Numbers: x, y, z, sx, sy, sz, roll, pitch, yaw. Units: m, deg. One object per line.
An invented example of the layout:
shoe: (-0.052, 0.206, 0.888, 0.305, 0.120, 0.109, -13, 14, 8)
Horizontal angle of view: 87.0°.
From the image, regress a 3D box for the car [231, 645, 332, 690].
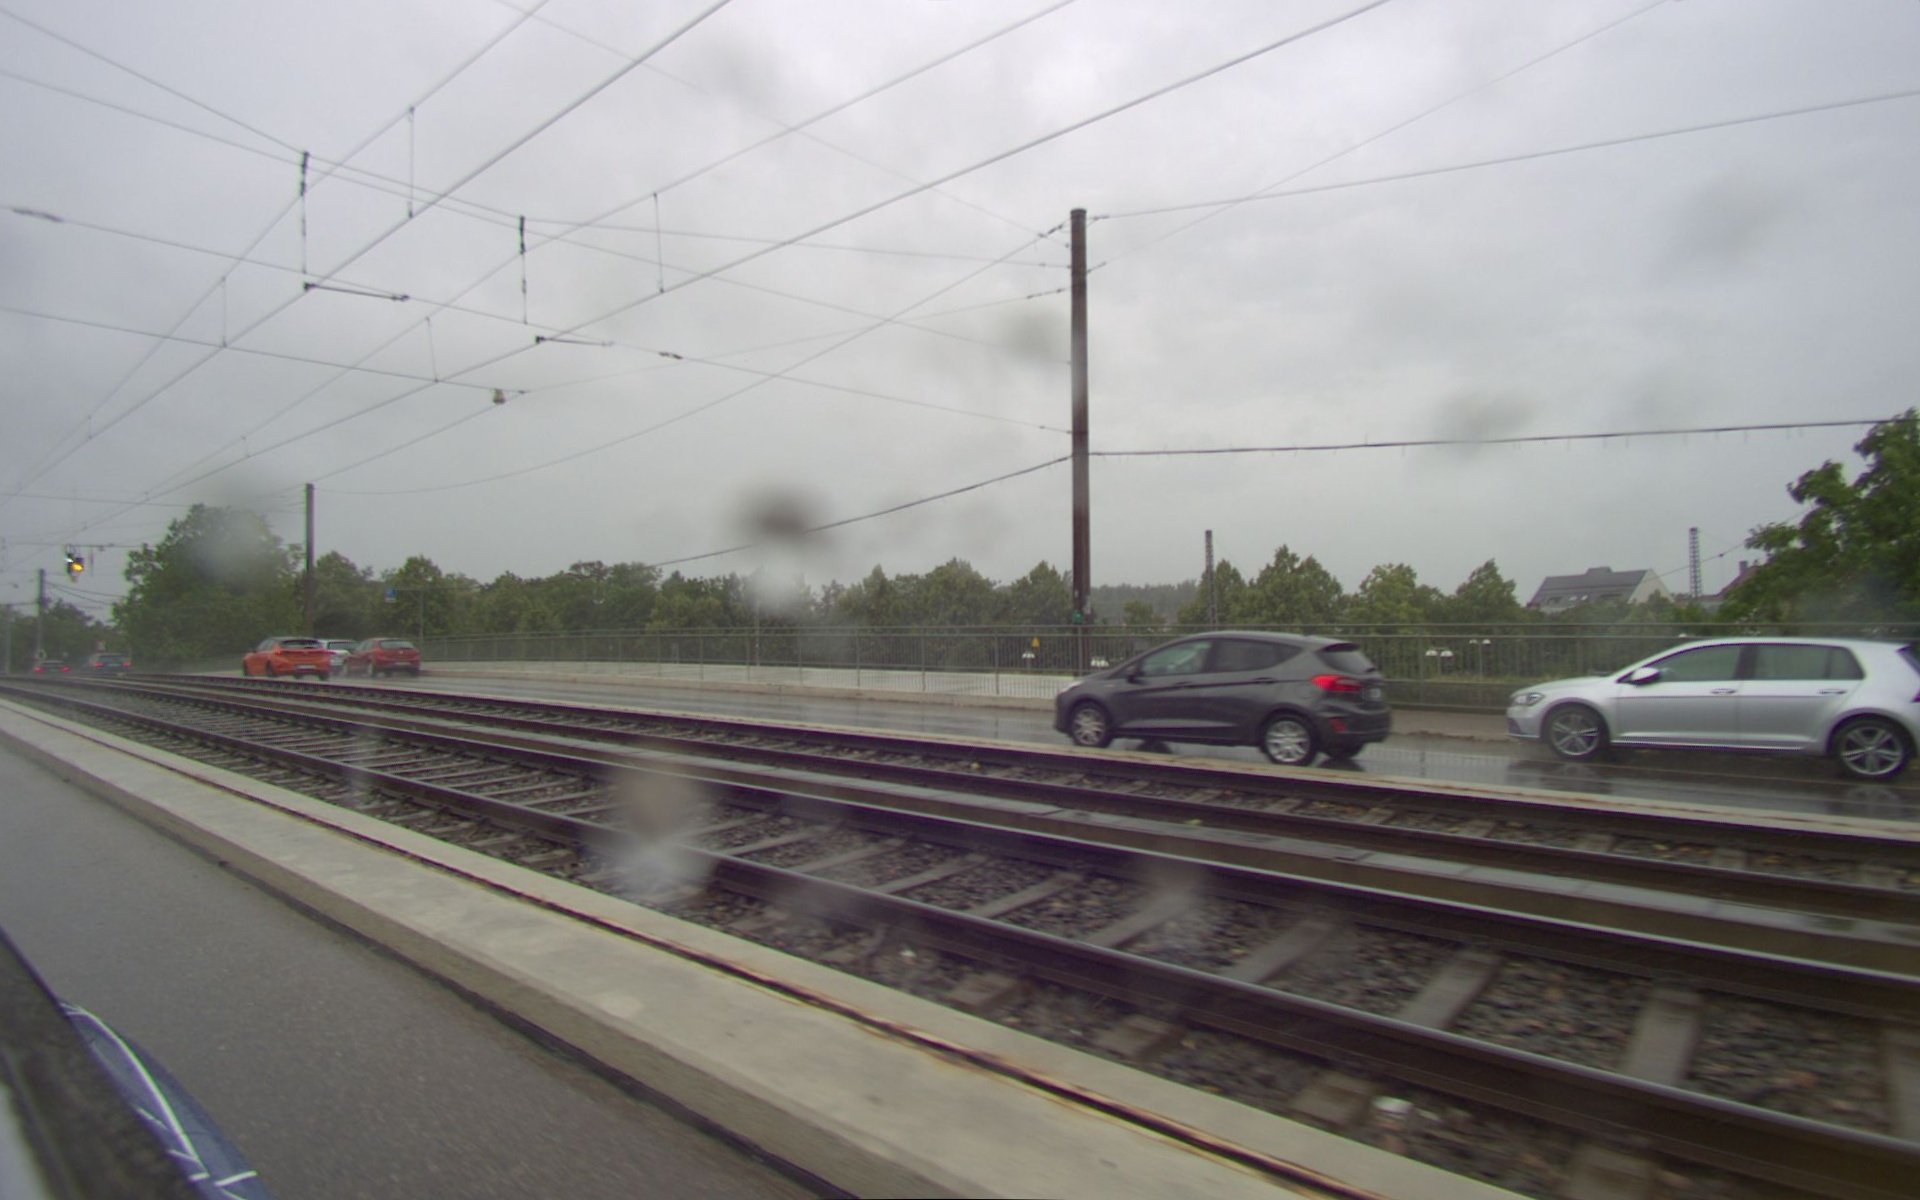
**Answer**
car: (-22.659, 2.244, 33.738, 4.081, 1.326, 1.781, -3, -2, 41)

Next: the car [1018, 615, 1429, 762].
car: (2.948, 1.069, 11.920, 4.262, 1.379, 1.797, -7, -4, 41)

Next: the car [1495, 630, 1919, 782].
car: (8.697, 1.135, 11.489, 4.316, 1.467, 1.844, -3, -5, 40)

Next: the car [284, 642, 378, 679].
car: (-26.301, 2.531, 42.248, 4.616, 1.467, 1.973, -3, -5, 40)

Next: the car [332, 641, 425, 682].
car: (-21.897, 2.322, 38.057, 4.319, 1.467, 1.604, -3, -5, 40)

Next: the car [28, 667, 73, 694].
car: (-62.226, 5.471, 69.207, 3.998, 1.667, 1.799, -3, -2, 41)

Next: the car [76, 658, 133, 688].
car: (-46.784, 3.962, 55.321, 4.081, 1.493, 1.781, -3, -2, 41)
